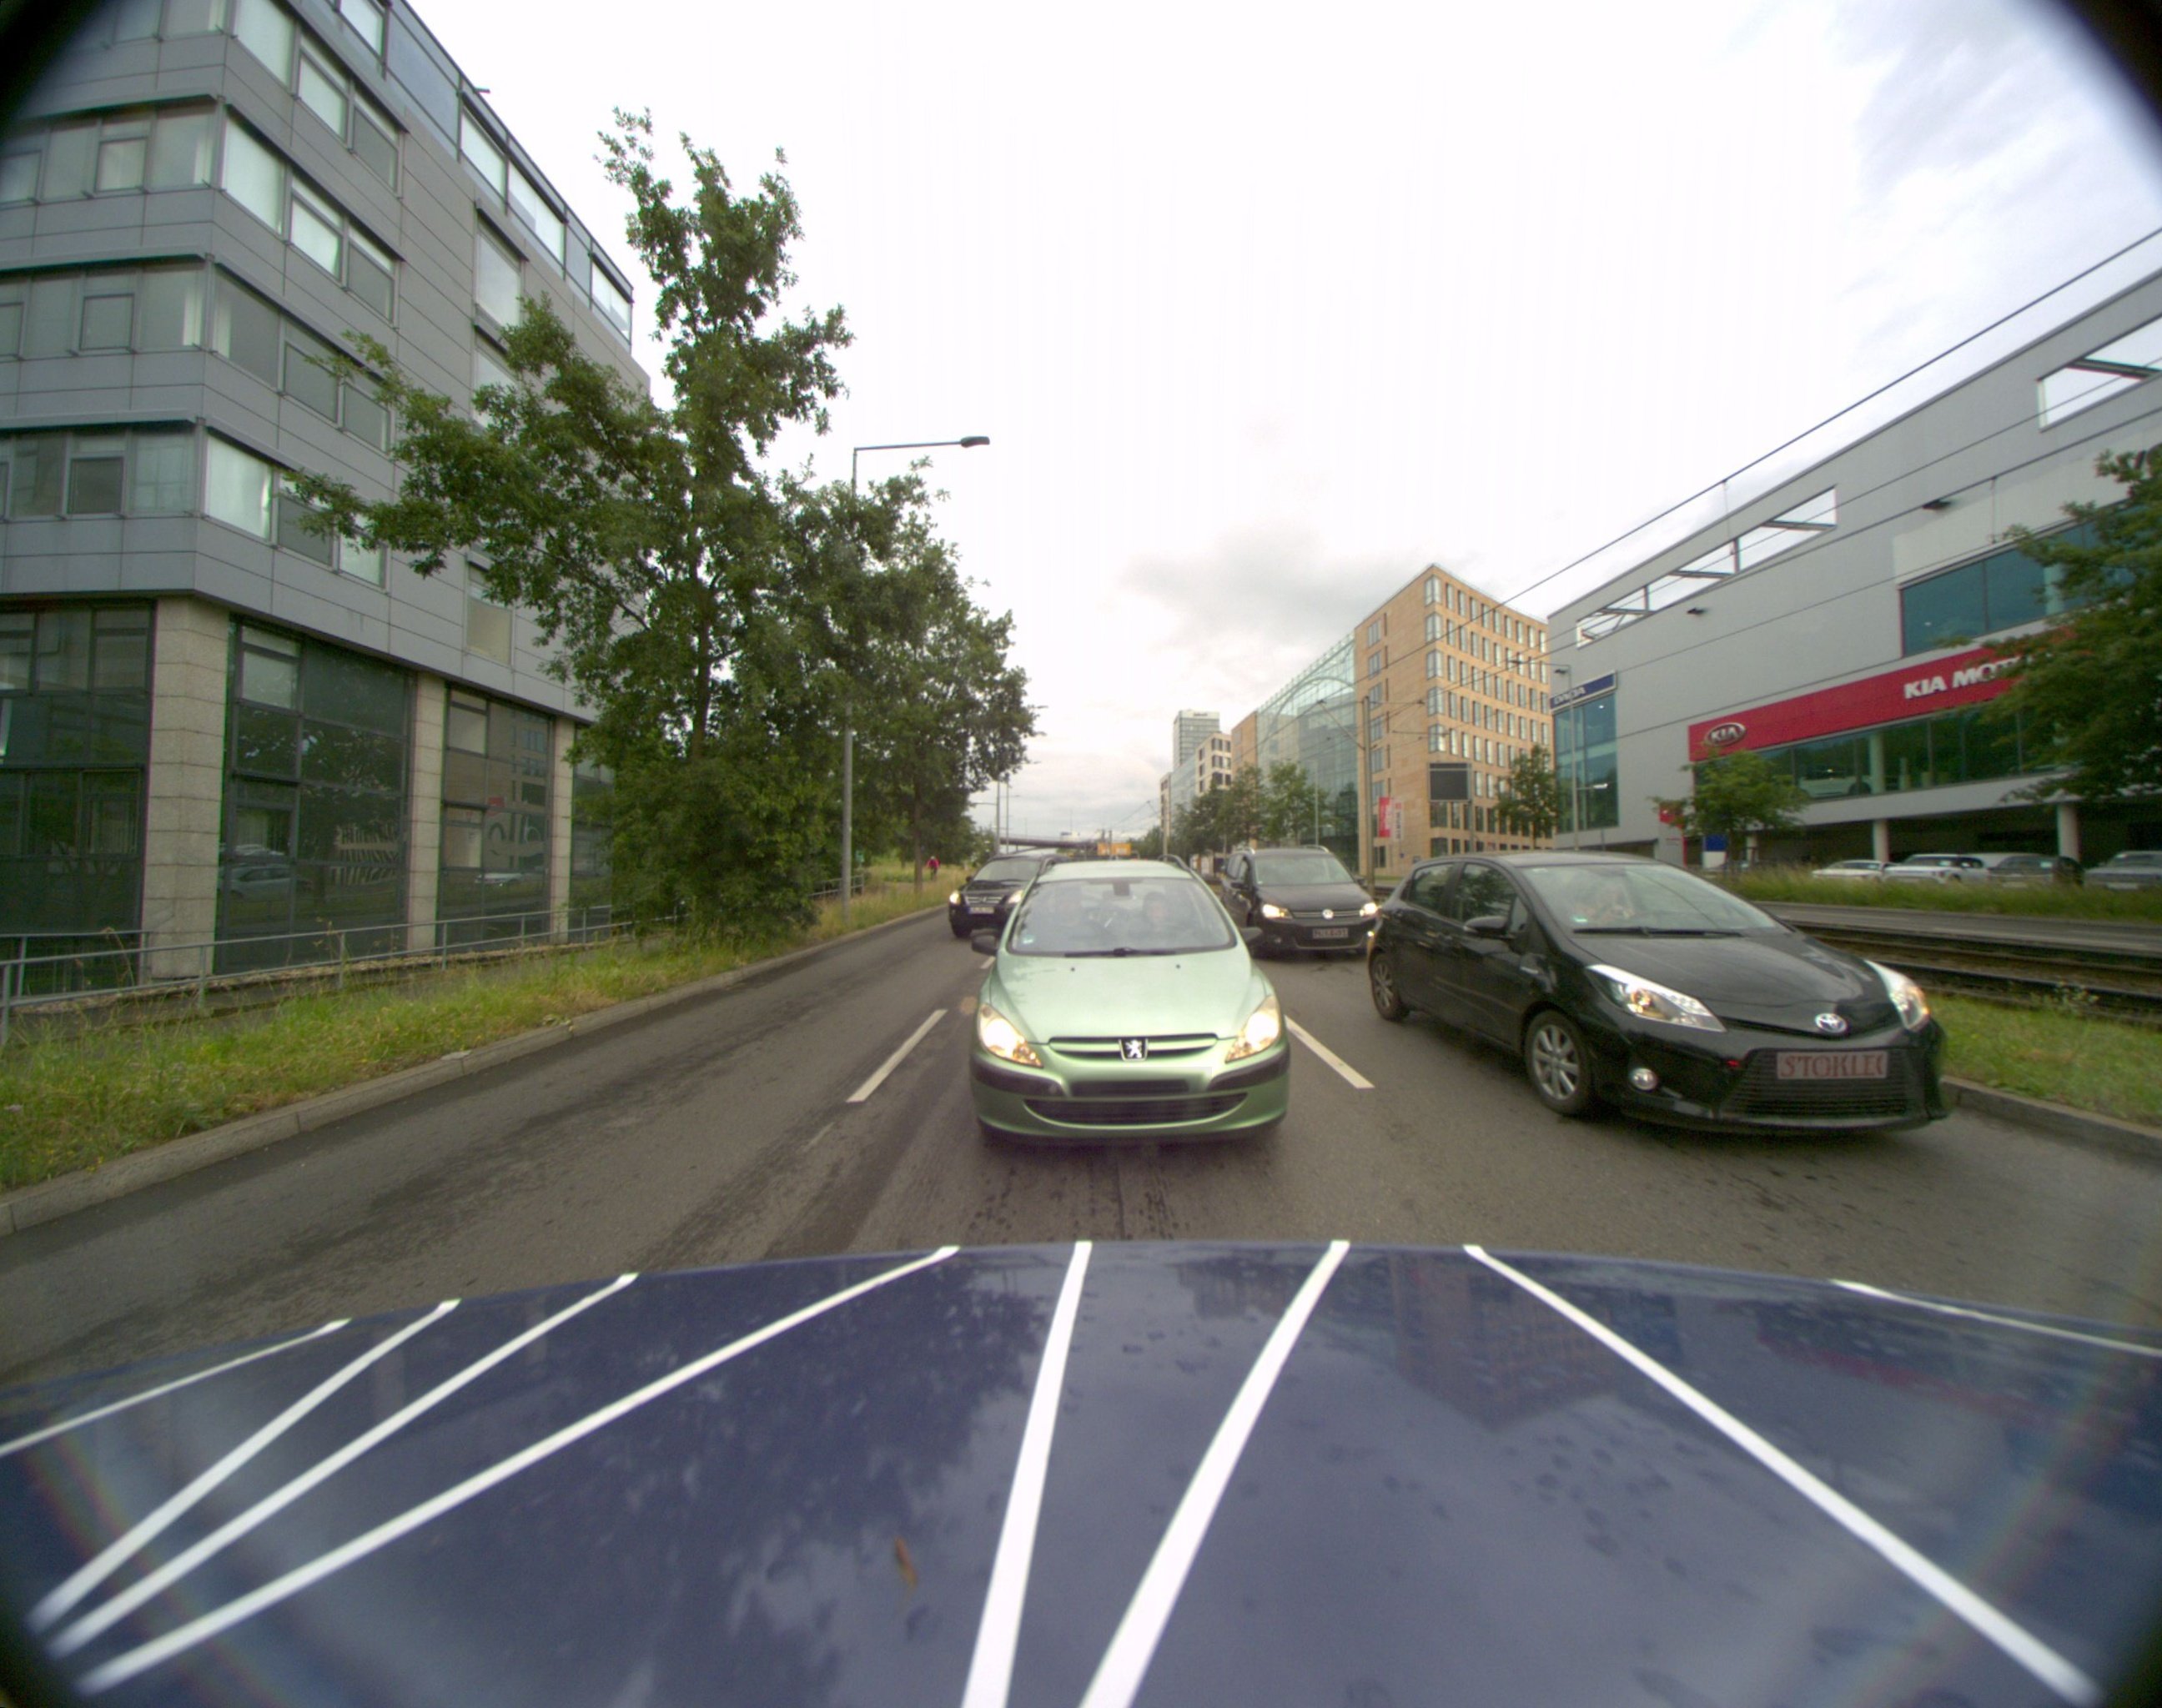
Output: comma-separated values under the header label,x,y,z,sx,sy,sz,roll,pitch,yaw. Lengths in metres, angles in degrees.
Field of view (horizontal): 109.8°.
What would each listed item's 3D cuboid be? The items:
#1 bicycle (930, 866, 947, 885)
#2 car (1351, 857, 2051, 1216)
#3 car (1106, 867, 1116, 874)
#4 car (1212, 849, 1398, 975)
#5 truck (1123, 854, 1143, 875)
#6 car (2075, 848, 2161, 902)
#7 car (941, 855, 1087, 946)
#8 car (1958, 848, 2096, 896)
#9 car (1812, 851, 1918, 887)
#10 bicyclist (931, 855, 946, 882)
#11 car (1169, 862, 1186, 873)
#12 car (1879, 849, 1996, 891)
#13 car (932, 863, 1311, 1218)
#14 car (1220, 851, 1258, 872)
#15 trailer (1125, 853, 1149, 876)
label,x,y,z,sx,sy,sz,roll,pitch,yaw
bicycle,-8.565,1.267,45.638,0.582,1.082,1.906,-2,0,1
car,3.429,0.815,5.273,1.704,1.523,3.826,-1,0,-1
car,6.826,3.782,172.303,1.655,1.428,3.877,-1,1,-5
car,3.315,0.760,12.144,1.786,1.597,4.318,-2,0,2
truck,10.807,2.157,158.276,3.144,4.219,7.026,2,0,-3
car,32.043,0.591,22.810,3.528,1.344,1.696,-4,1,-20
car,-1.275,0.892,16.495,1.757,1.649,4.343,-1,0,14
car,31.601,0.572,25.394,3.528,1.344,1.696,-4,1,-17
car,31.740,0.580,30.780,3.668,1.181,1.696,-4,1,-22
bicyclist,-8.562,0.850,45.633,0.647,1.569,0.855,-2,0,1
car,13.767,1.959,108.334,1.589,1.504,4.100,1,0,-4
car,31.763,0.565,28.175,3.668,1.287,1.696,-4,1,-22
car,0.173,0.880,5.666,1.704,1.523,4.370,-1,0,-1
car,13.657,0.605,65.810,1.999,1.709,4.839,1,0,-4
trailer,11.109,2.051,152.112,3.143,4.304,13.277,2,0,-3
